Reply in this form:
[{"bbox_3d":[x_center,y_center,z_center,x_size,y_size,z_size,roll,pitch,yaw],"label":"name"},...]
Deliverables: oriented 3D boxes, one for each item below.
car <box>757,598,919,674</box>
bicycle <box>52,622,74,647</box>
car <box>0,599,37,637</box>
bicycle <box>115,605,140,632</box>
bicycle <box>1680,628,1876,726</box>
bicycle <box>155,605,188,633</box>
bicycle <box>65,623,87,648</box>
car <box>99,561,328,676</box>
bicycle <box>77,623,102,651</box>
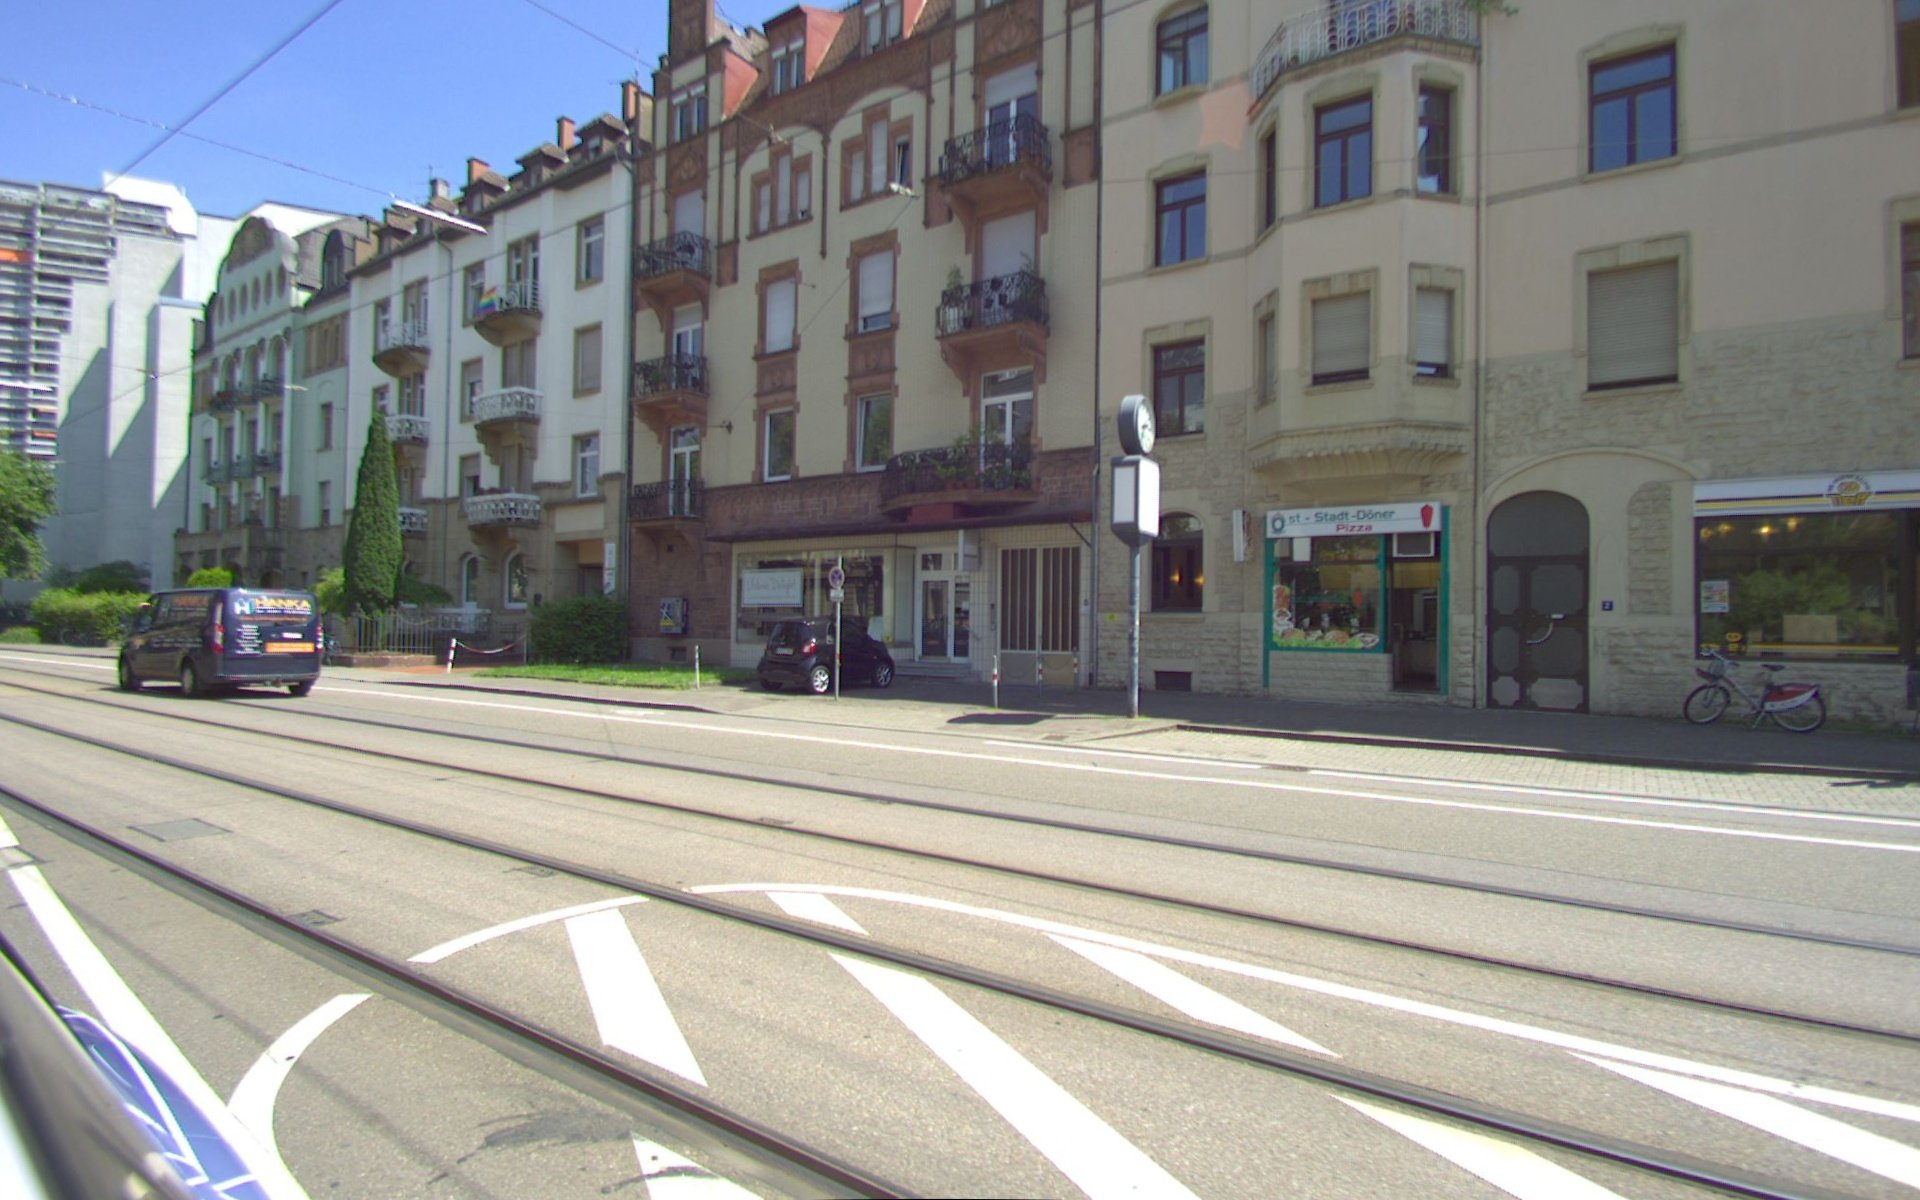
[{"bbox_3d":[-2.537,0.731,21.568,1.528,1.483,3.320,-1,-1,40],"label":"car"},{"bbox_3d":[-40.543,1.535,45.737,1.724,1.076,0.336,0,-1,36],"label":"bicycle"},{"bbox_3d":[-50.915,0.946,52.930,1.885,1.984,3.911,1,-1,-4],"label":"car"},{"bbox_3d":[-33.374,0.727,40.563,1.896,1.054,0.286,0,-1,36],"label":"bicycle"},{"bbox_3d":[11.325,1.029,14.106,0.448,1.234,2.085,2,-1,-34],"label":"bicycle"},{"bbox_3d":[-29.010,0.699,37.238,2.042,0.978,0.396,-1,-2,36],"label":"bicycle"},{"bbox_3d":[-38.913,1.554,44.548,1.724,1.076,0.336,0,-1,36],"label":"bicycle"},{"bbox_3d":[-14.219,0.352,19.204,4.808,1.952,1.829,0,-3,33],"label":"car"},{"bbox_3d":[-37.318,1.573,43.374,1.929,1.173,0.336,0,-1,36],"label":"bicycle"}]
